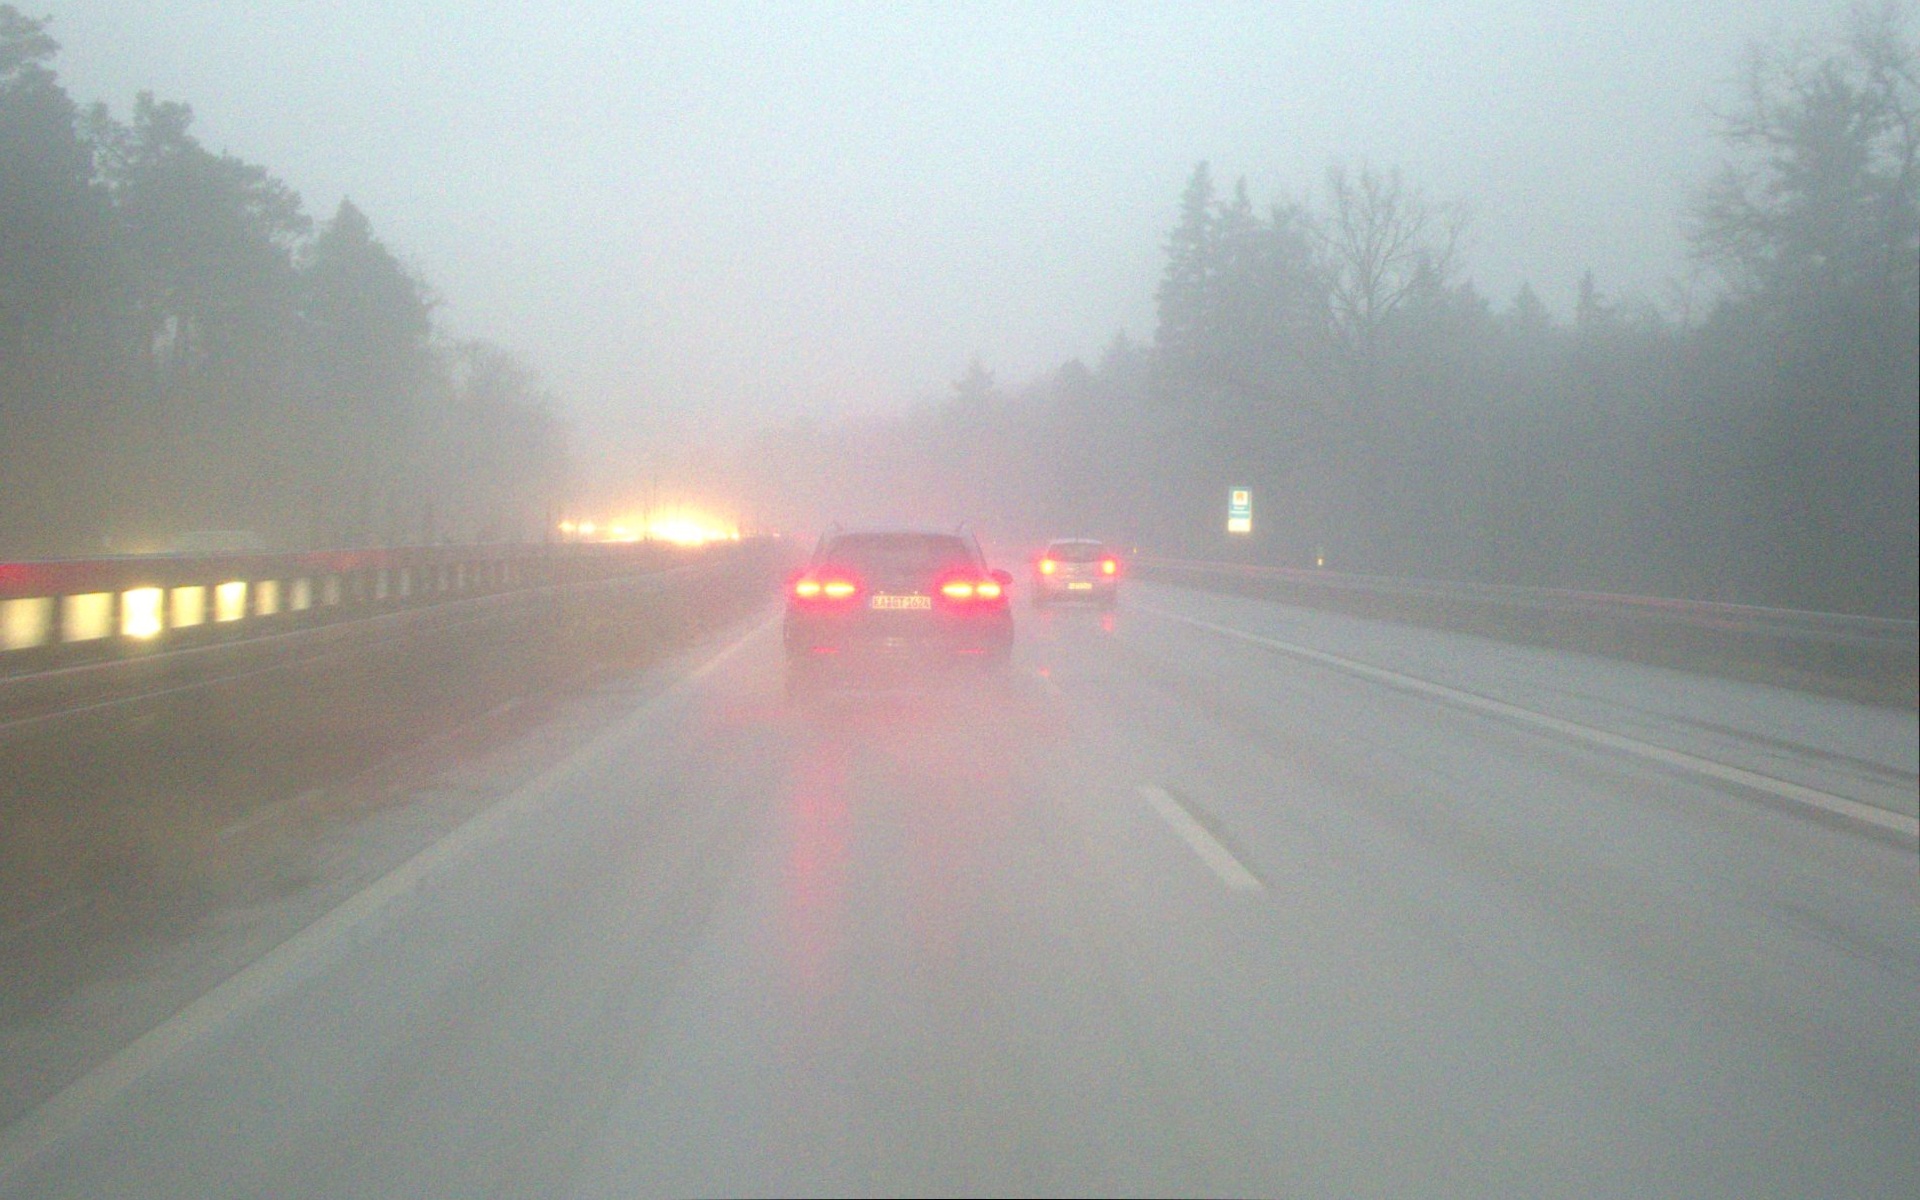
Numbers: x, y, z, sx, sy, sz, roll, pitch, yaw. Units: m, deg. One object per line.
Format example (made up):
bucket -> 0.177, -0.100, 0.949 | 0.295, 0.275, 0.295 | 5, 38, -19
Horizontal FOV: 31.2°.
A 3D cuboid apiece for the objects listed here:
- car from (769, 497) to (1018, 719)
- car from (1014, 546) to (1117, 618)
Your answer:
car -> -0.537, 0.023, 29.638 | 1.986, 1.761, 4.173 | 0, 1, 0
car -> 2.150, -0.394, 70.958 | 1.780, 1.432, 3.538 | 1, 1, -4
